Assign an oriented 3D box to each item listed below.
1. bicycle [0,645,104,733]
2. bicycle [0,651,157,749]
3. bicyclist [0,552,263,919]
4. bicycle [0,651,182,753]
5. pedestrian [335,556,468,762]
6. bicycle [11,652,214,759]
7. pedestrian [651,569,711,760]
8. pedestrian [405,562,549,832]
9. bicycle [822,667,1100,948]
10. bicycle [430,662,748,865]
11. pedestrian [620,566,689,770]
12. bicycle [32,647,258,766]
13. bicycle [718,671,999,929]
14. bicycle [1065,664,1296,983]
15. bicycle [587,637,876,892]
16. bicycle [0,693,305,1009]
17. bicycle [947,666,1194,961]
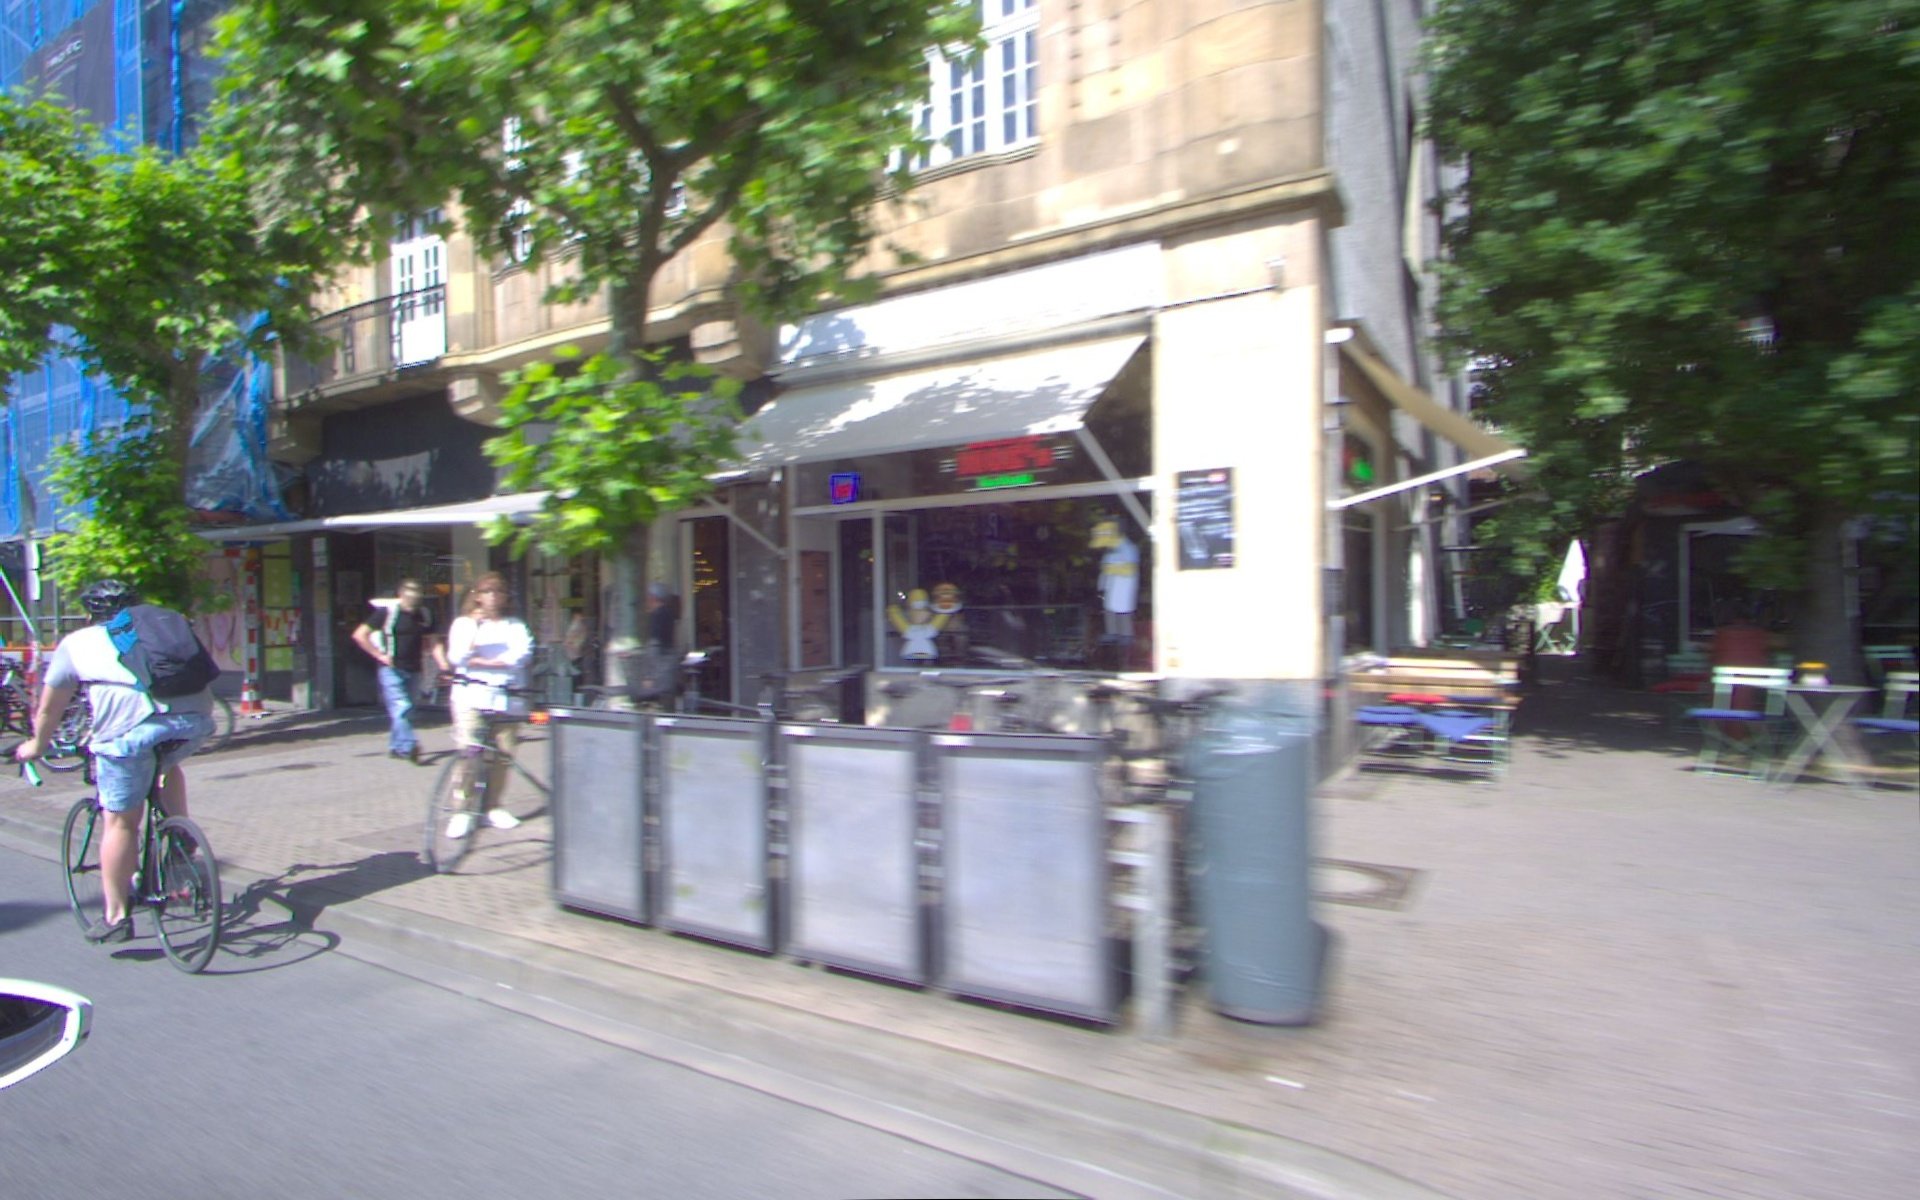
[{"bbox_3d":[-11.739,1.098,12.340,0.475,1.031,1.750,-1,-1,30],"label":"bicycle"},{"bbox_3d":[-10.512,1.142,11.674,0.475,1.031,1.750,-1,-1,30],"label":"bicycle"},{"bbox_3d":[-3.912,0.571,4.644,1.126,1.481,0.687,-1,-2,31],"label":"bicyclist"},{"bbox_3d":[-10.033,1.130,11.451,0.475,1.031,1.750,-1,-1,30],"label":"bicycle"},{"bbox_3d":[-5.406,0.543,9.699,0.881,1.873,0.810,-1,1,39],"label":"pedestrian"},{"bbox_3d":[-9.325,1.122,11.110,0.474,1.031,1.756,-1,-1,16],"label":"bicycle"},{"bbox_3d":[-2.574,0.575,9.229,0.376,1.705,0.474,-2,1,-31],"label":"pedestrian"},{"bbox_3d":[-3.269,0.627,6.784,0.646,1.705,0.653,-2,-1,40],"label":"pedestrian"},{"bbox_3d":[0.090,0.899,4.960,0.578,1.031,1.750,-1,0,30],"label":"bicycle"},{"bbox_3d":[-2.257,0.932,6.194,1.736,1.031,0.653,0,-1,-36],"label":"bicycle"},{"bbox_3d":[-2.649,0.572,8.720,0.491,1.705,0.536,-2,1,-16],"label":"pedestrian"},{"bbox_3d":[-8.426,1.060,10.442,0.475,1.031,1.750,-1,1,30],"label":"bicycle"},{"bbox_3d":[-0.443,0.930,5.247,0.549,1.031,1.750,-1,-1,30],"label":"bicycle"},{"bbox_3d":[1.034,0.833,4.361,0.475,1.031,1.750,-1,-1,30],"label":"bicycle"},{"bbox_3d":[-1.208,0.819,5.676,0.570,1.196,1.751,-1,-1,30],"label":"bicycle"},{"bbox_3d":[-3.992,1.030,4.653,2.099,1.106,0.733,-1,-2,31],"label":"bicycle"},{"bbox_3d":[0.592,0.859,4.649,0.475,1.031,1.750,-1,-1,30],"label":"bicycle"}]
